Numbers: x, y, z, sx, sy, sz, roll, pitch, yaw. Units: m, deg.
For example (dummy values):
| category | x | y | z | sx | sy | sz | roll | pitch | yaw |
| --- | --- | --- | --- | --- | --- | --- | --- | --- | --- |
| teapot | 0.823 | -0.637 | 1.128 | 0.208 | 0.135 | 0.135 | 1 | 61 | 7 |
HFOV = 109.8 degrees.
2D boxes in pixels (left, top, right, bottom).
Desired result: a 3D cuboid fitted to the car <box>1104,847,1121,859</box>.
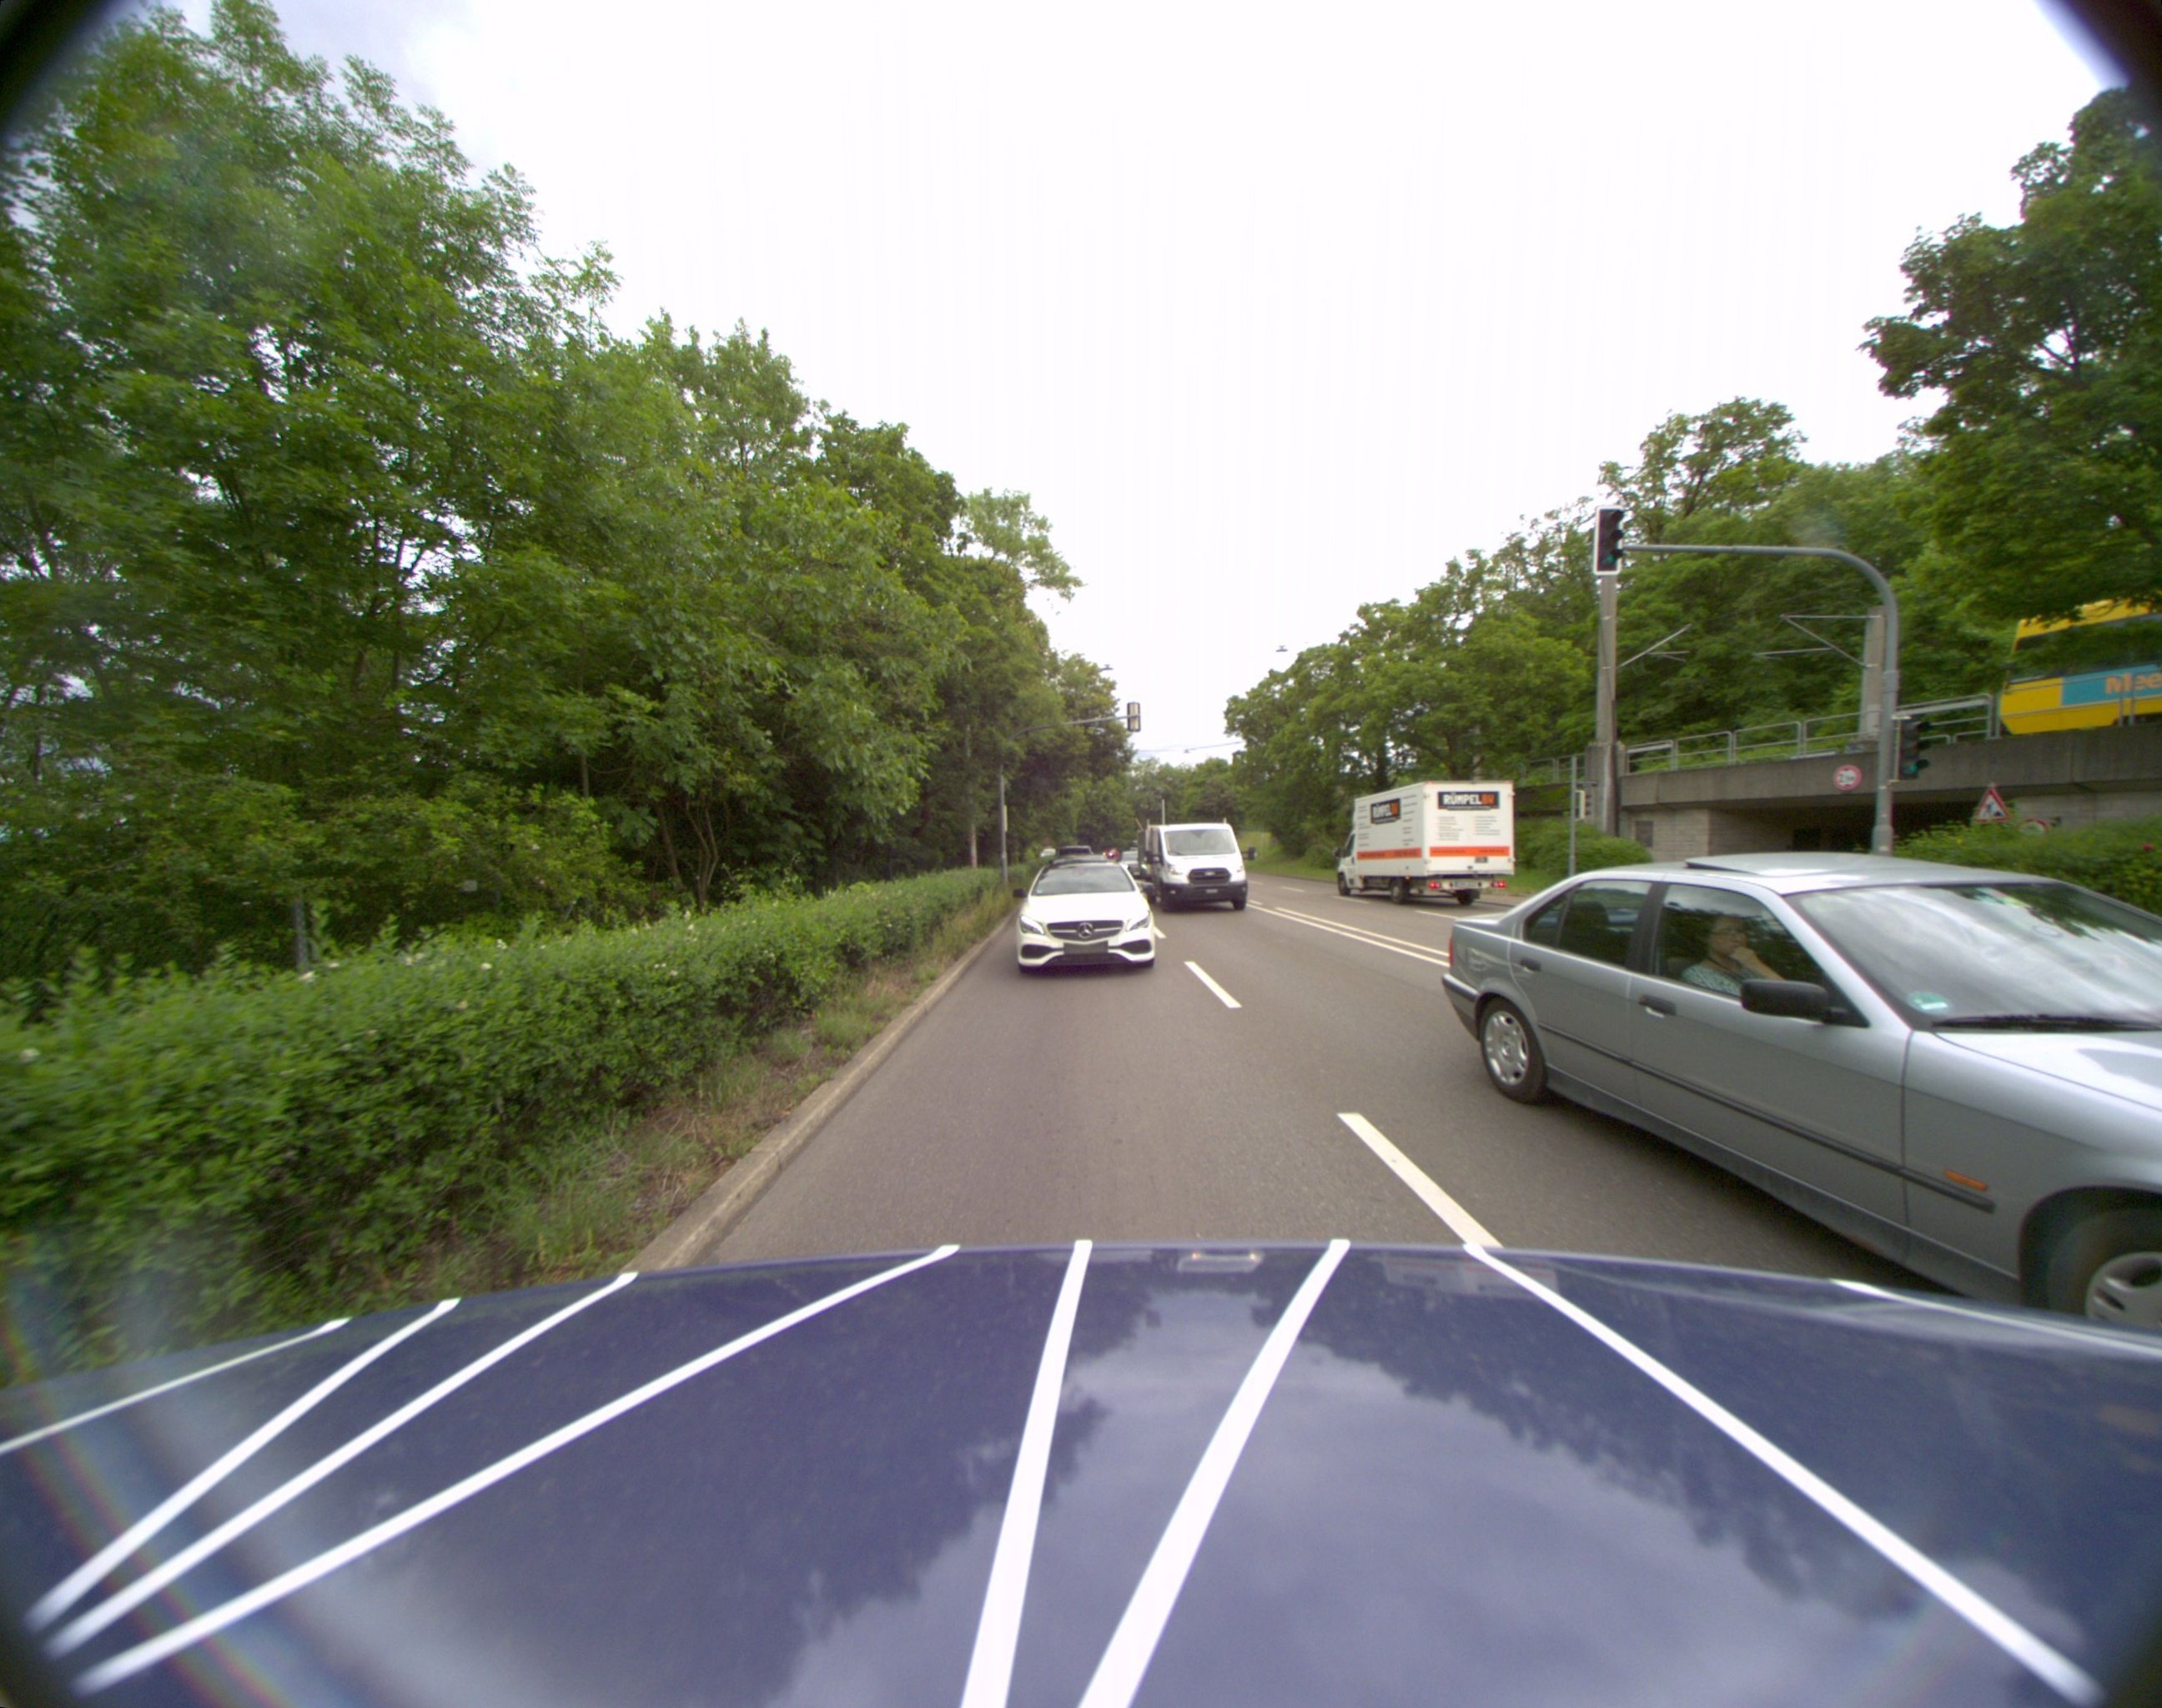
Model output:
| category | x | y | z | sx | sy | sz | roll | pitch | yaw |
| --- | --- | --- | --- | --- | --- | --- | --- | --- | --- |
| car | 4.554 | -0.161 | 108.061 | 1.676 | 1.532 | 4.618 | -1 | 1 | 11 |

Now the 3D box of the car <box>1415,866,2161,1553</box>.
| category | x | y | z | sx | sy | sz | roll | pitch | yaw |
| --- | --- | --- | --- | --- | --- | --- | --- | --- | --- |
| car | 3.228 | 0.814 | 2.979 | 1.757 | 1.385 | 4.614 | -1 | 1 | -1 |

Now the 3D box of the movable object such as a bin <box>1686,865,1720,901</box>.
| category | x | y | z | sx | sy | sz | roll | pitch | yaw |
| --- | --- | --- | --- | --- | --- | --- | --- | --- | --- |
| movable object such as a bin | 18.861 | 0.873 | 23.061 | 0.544 | 1.070 | 0.563 | 0 | 1 | -2 |

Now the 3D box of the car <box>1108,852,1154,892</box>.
| category | x | y | z | sx | sy | sz | roll | pitch | yaw |
| --- | --- | --- | --- | --- | --- | --- | --- | --- | --- |
| car | 2.094 | 0.726 | 32.692 | 1.677 | 1.532 | 4.552 | -1 | 1 | 0 |

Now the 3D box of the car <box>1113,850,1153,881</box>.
| category | x | y | z | sx | sy | sz | roll | pitch | yaw |
| --- | --- | --- | --- | --- | --- | --- | --- | --- | --- |
| car | 2.734 | 0.554 | 40.908 | 1.678 | 1.532 | 4.614 | -1 | 0 | -2 |

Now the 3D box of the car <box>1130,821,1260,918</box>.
| category | x | y | z | sx | sy | sz | roll | pitch | yaw |
| --- | --- | --- | --- | --- | --- | --- | --- | --- | --- |
| car | 2.816 | 0.318 | 20.631 | 2.253 | 2.114 | 6.667 | -2 | 1 | -2 |

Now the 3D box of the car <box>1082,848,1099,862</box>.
| category | x | y | z | sx | sy | sz | roll | pitch | yaw |
| --- | --- | --- | --- | --- | --- | --- | --- | --- | --- |
| car | 1.108 | 0.058 | 89.237 | 1.677 | 1.532 | 4.616 | -1 | 1 | 4 |

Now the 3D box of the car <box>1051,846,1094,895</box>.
| category | x | y | z | sx | sy | sz | roll | pitch | yaw |
| --- | --- | --- | --- | --- | --- | --- | --- | --- | --- |
| car | -0.422 | 0.685 | 34.639 | 1.826 | 2.059 | 4.614 | -1 | 0 | -2 |

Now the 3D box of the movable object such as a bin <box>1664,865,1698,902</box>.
| category | x | y | z | sx | sy | sz | roll | pitch | yaw |
| --- | --- | --- | --- | --- | --- | --- | --- | --- | --- |
| movable object such as a bin | 18.289 | 0.890 | 23.163 | 0.544 | 1.092 | 0.563 | 0 | 1 | -2 |

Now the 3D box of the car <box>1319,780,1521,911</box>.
| category | x | y | z | sx | sy | sz | roll | pitch | yaw |
| --- | --- | --- | --- | --- | --- | --- | --- | --- | --- |
| car | 9.222 | -0.239 | 21.719 | 2.276 | 3.038 | 7.234 | -2 | 1 | -2 |

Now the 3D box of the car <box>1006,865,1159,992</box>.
| category | x | y | z | sx | sy | sz | roll | pitch | yaw |
| --- | --- | --- | --- | --- | --- | --- | --- | --- | --- |
| car | -0.001 | 0.920 | 11.208 | 1.807 | 1.385 | 4.283 | -1 | 1 | -1 |

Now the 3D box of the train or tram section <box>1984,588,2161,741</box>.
| category | x | y | z | sx | sy | sz | roll | pitch | yaw |
| --- | --- | --- | --- | --- | --- | --- | --- | --- | --- |
| train or tram section | 25.344 | -4.472 | 16.215 | 2.063 | 3.026 | 8.146 | -3 | 2 | -4 |

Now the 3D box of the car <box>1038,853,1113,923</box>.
| category | x | y | z | sx | sy | sz | roll | pitch | yaw |
| --- | --- | --- | --- | --- | --- | --- | --- | --- | --- |
| car | -0.188 | 0.777 | 19.663 | 1.678 | 1.532 | 4.613 | -1 | 1 | -2 |
